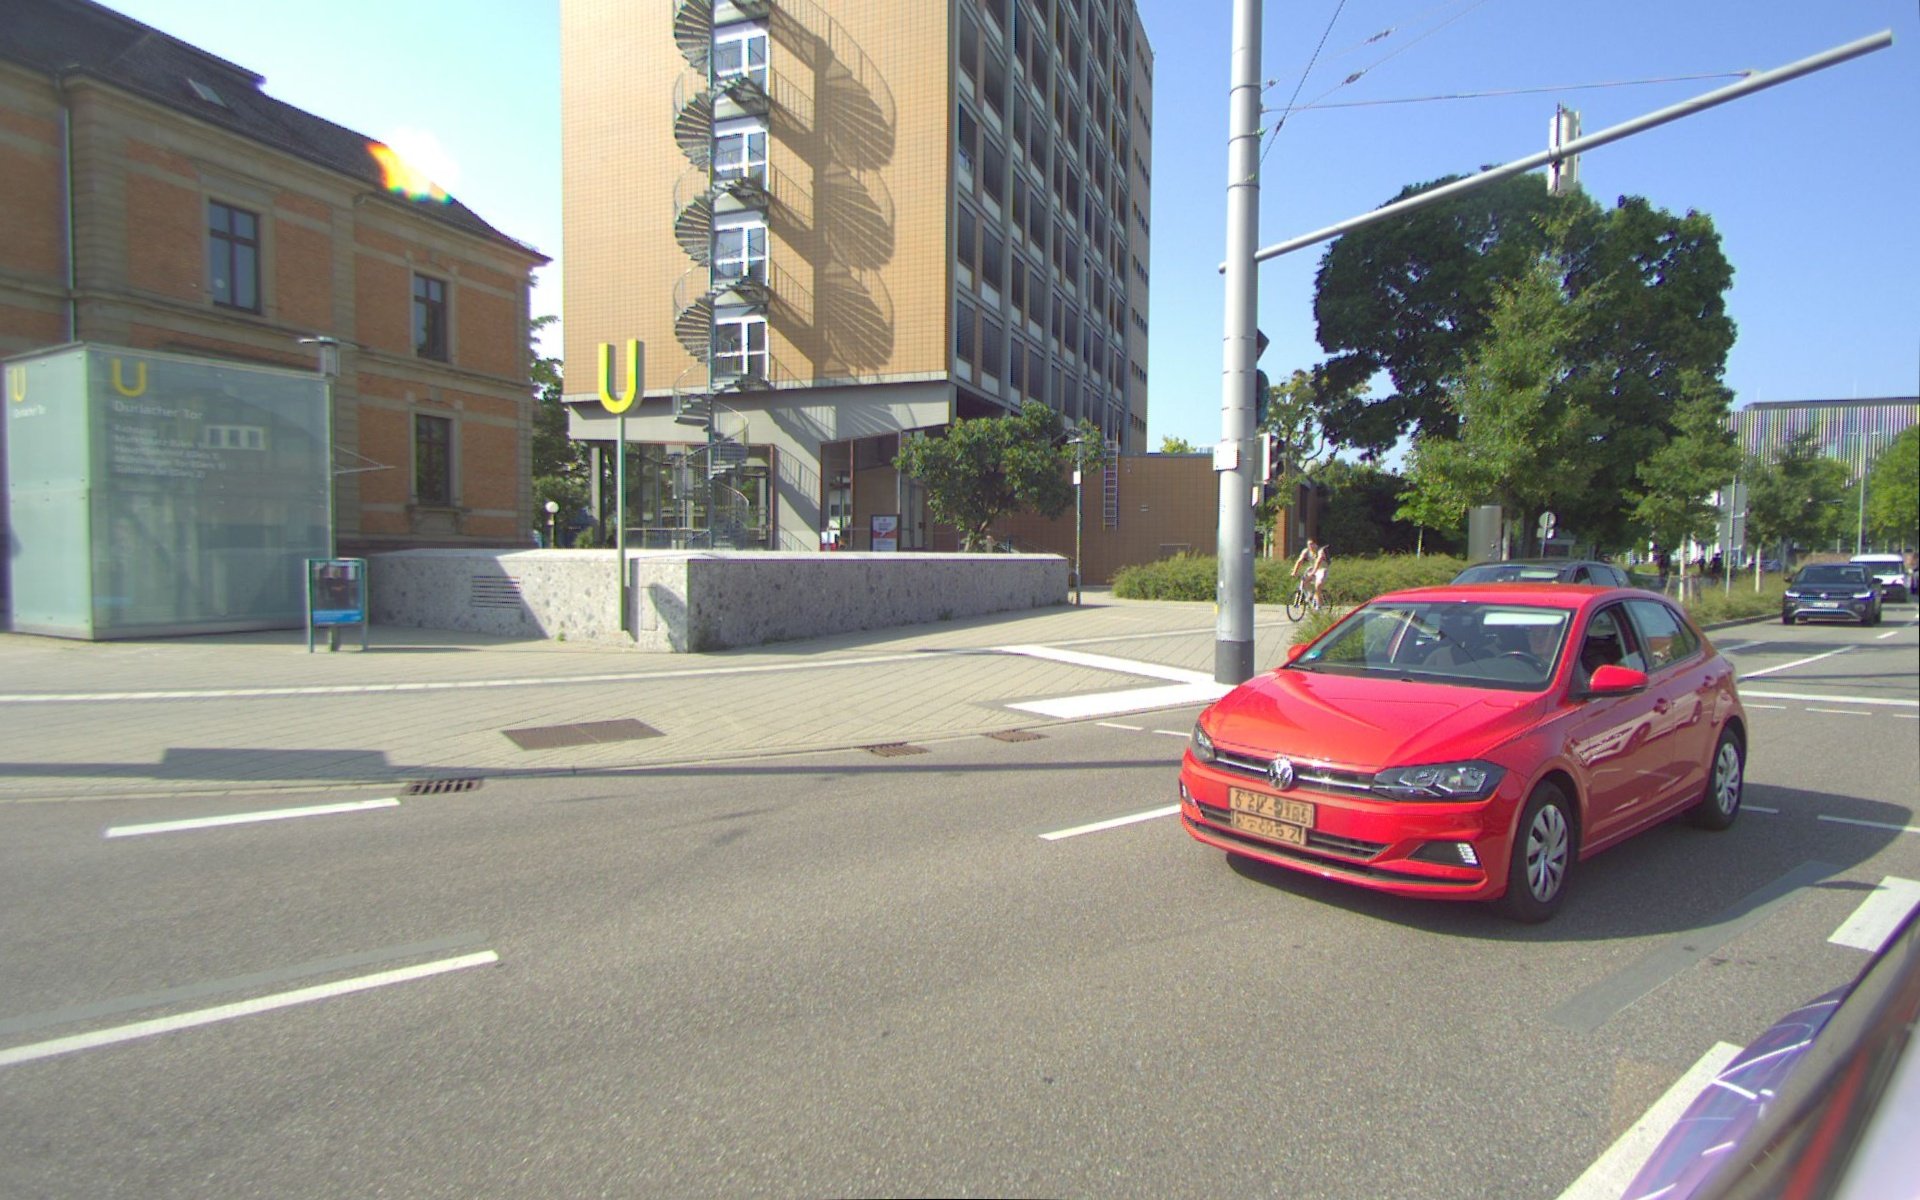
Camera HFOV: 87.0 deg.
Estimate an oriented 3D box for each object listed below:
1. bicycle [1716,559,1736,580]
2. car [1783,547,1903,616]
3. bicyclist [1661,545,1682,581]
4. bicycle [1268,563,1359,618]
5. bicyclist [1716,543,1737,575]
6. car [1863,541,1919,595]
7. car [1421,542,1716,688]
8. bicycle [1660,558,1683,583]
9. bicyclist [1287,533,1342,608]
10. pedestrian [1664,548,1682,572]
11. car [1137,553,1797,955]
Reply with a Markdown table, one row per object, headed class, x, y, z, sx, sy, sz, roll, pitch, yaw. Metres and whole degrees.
| class | x | y | z | sx | sy | sz | roll | pitch | yaw |
| --- | --- | --- | --- | --- | --- | --- | --- | --- | --- |
| bicycle | 36.417 | -1.465 | 48.115 | 0.718 | 0.971 | 1.896 | 2 | 3 | 37 |
| car | 22.827 | -0.496 | 26.110 | 4.458 | 1.627 | 1.937 | -1 | 2 | -44 |
| bicyclist | 33.161 | -1.730 | 47.158 | 0.769 | 1.696 | 0.912 | 1 | 3 | 38 |
| bicycle | 7.783 | -0.226 | 22.223 | 2.261 | 1.131 | 0.773 | -2 | 3 | -37 |
| bicyclist | 36.461 | -1.954 | 48.144 | 0.718 | 1.531 | 0.991 | 2 | 3 | 38 |
| car | 36.155 | -1.274 | 39.093 | 1.681 | 1.965 | 4.310 | 3 | 3 | 40 |
| car | 8.079 | 0.134 | 13.294 | 4.339 | 1.626 | 1.783 | -1 | 0 | -37 |
| bicycle | 33.094 | -1.401 | 47.093 | 0.769 | 1.131 | 2.273 | 1 | 3 | 37 |
| bicyclist | 7.777 | -0.656 | 22.205 | 0.907 | 1.612 | 0.773 | -2 | 2 | -36 |
| pedestrian | 42.474 | -2.384 | 60.300 | 0.720 | 1.460 | 0.849 | 1 | 3 | 27 |
| car | 3.114 | 0.503 | 5.808 | 4.293 | 1.510 | 1.687 | -2 | 3 | -38 |
